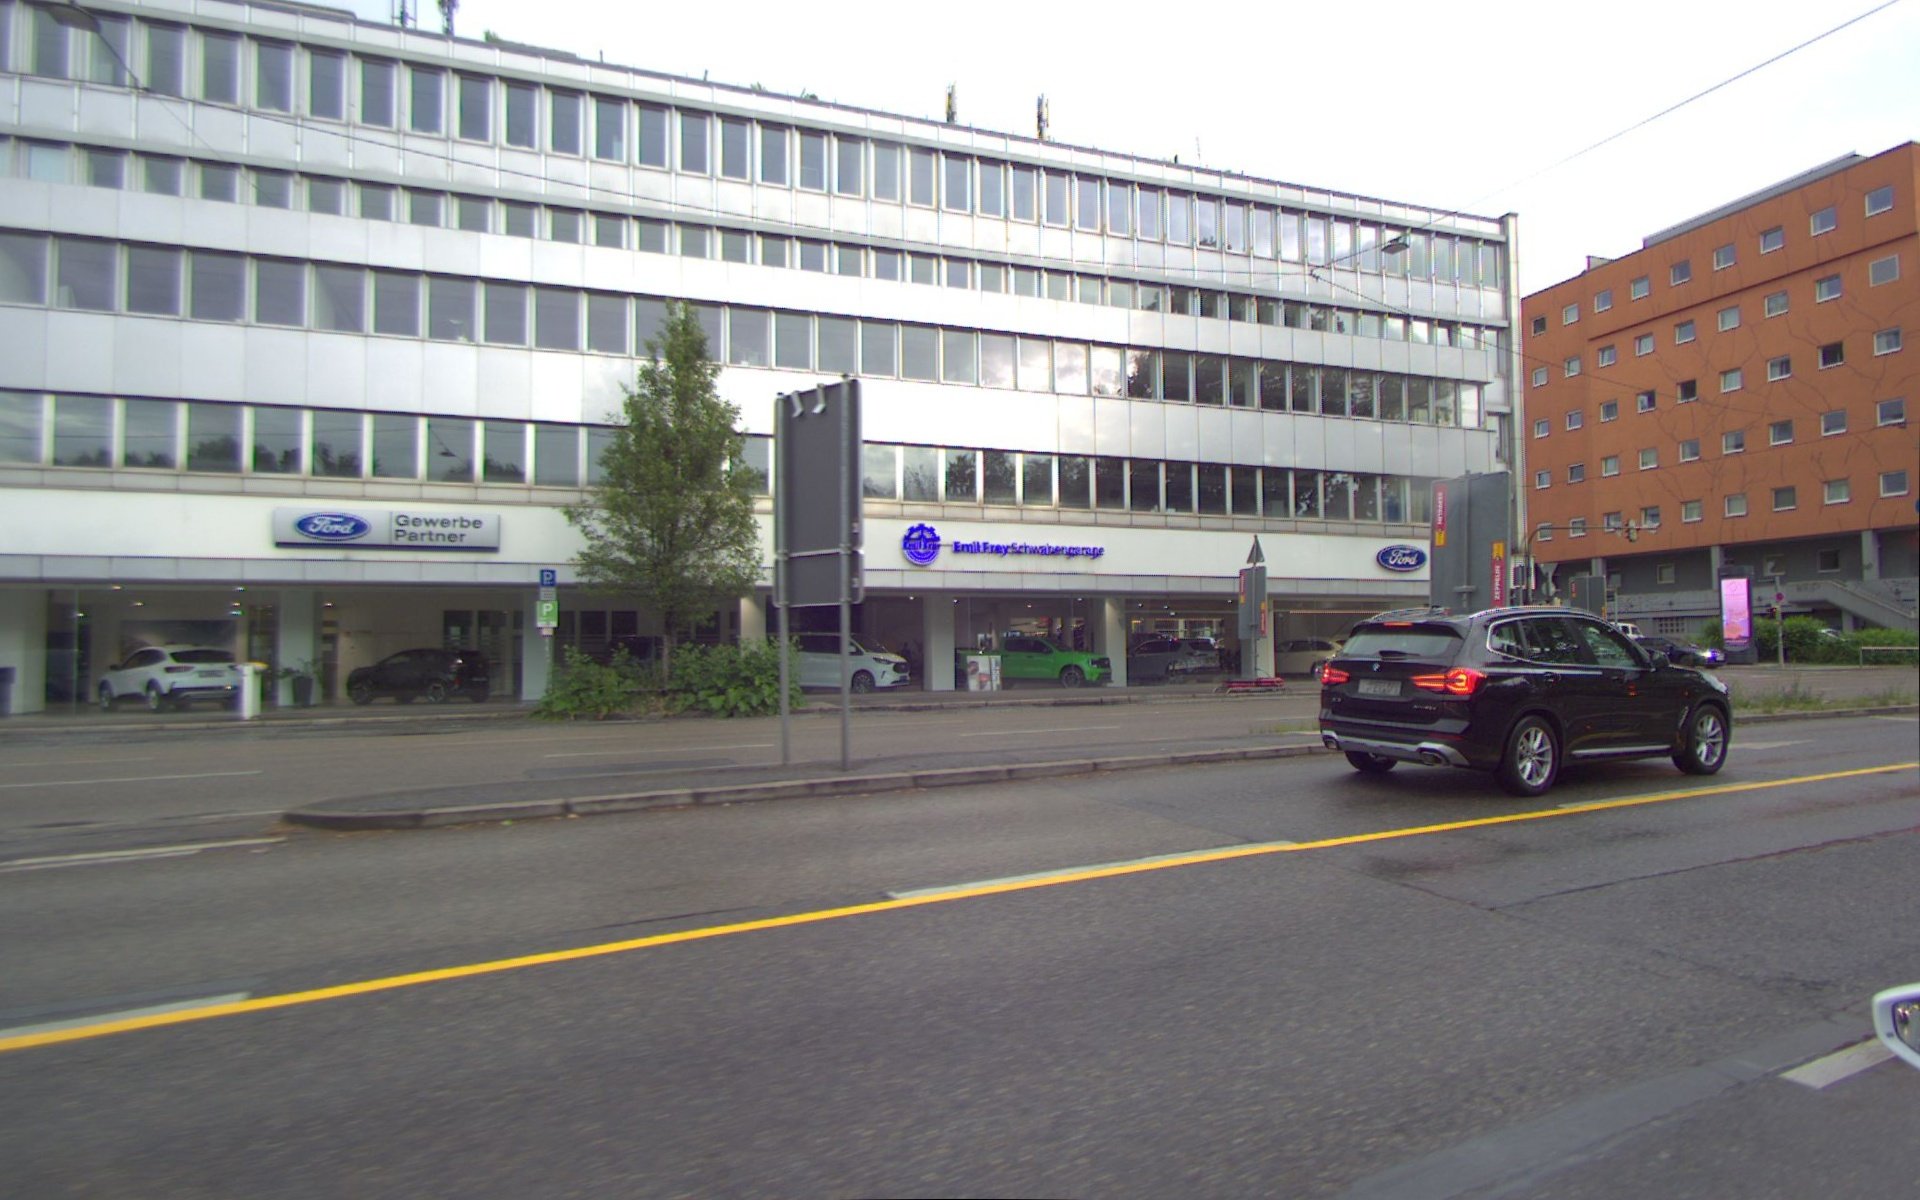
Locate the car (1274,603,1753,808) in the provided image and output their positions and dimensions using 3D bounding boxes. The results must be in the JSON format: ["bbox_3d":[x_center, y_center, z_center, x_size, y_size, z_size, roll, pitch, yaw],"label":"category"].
[{"bbox_3d":[5.554,0.864,10.002,4.609,1.619,1.941,0,0,-27],"label":"car"}]

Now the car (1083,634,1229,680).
[{"bbox_3d":[7.154,2.146,37.185,1.985,1.540,5.145,2,-5,-41],"label":"car"}]

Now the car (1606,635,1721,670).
[{"bbox_3d":[31.940,2.408,45.757,1.560,1.464,4.134,0,-4,-19],"label":"car"}]

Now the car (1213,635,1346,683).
[{"bbox_3d":[12.515,2.366,39.620,1.981,1.761,4.726,2,-5,-36],"label":"car"}]

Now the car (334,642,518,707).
[{"bbox_3d":[-14.088,1.968,26.745,3.933,1.594,1.995,0,-4,-15],"label":"car"}]

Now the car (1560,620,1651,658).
[{"bbox_3d":[37.729,2.265,58.707,4.778,2.041,1.990,1,1,-20],"label":"car"}]

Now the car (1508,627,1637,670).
[{"bbox_3d":[28.792,2.348,47.437,1.968,1.869,5.075,1,-5,-18],"label":"car"}]

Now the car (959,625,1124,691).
[{"bbox_3d":[2.703,1.988,33.579,5.112,2.037,1.997,-3,-4,28],"label":"car"}]

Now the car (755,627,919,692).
[{"bbox_3d":[-3.978,1.960,32.466,4.891,1.921,2.001,-3,-4,20],"label":"car"}]

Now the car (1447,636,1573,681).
[{"bbox_3d":[25.449,2.771,46.718,1.968,1.957,5.196,0,-4,-17],"label":"car"}]

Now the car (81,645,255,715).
[{"bbox_3d":[-20.350,2.056,25.786,4.305,1.673,1.853,-3,-4,27],"label":"car"}]
